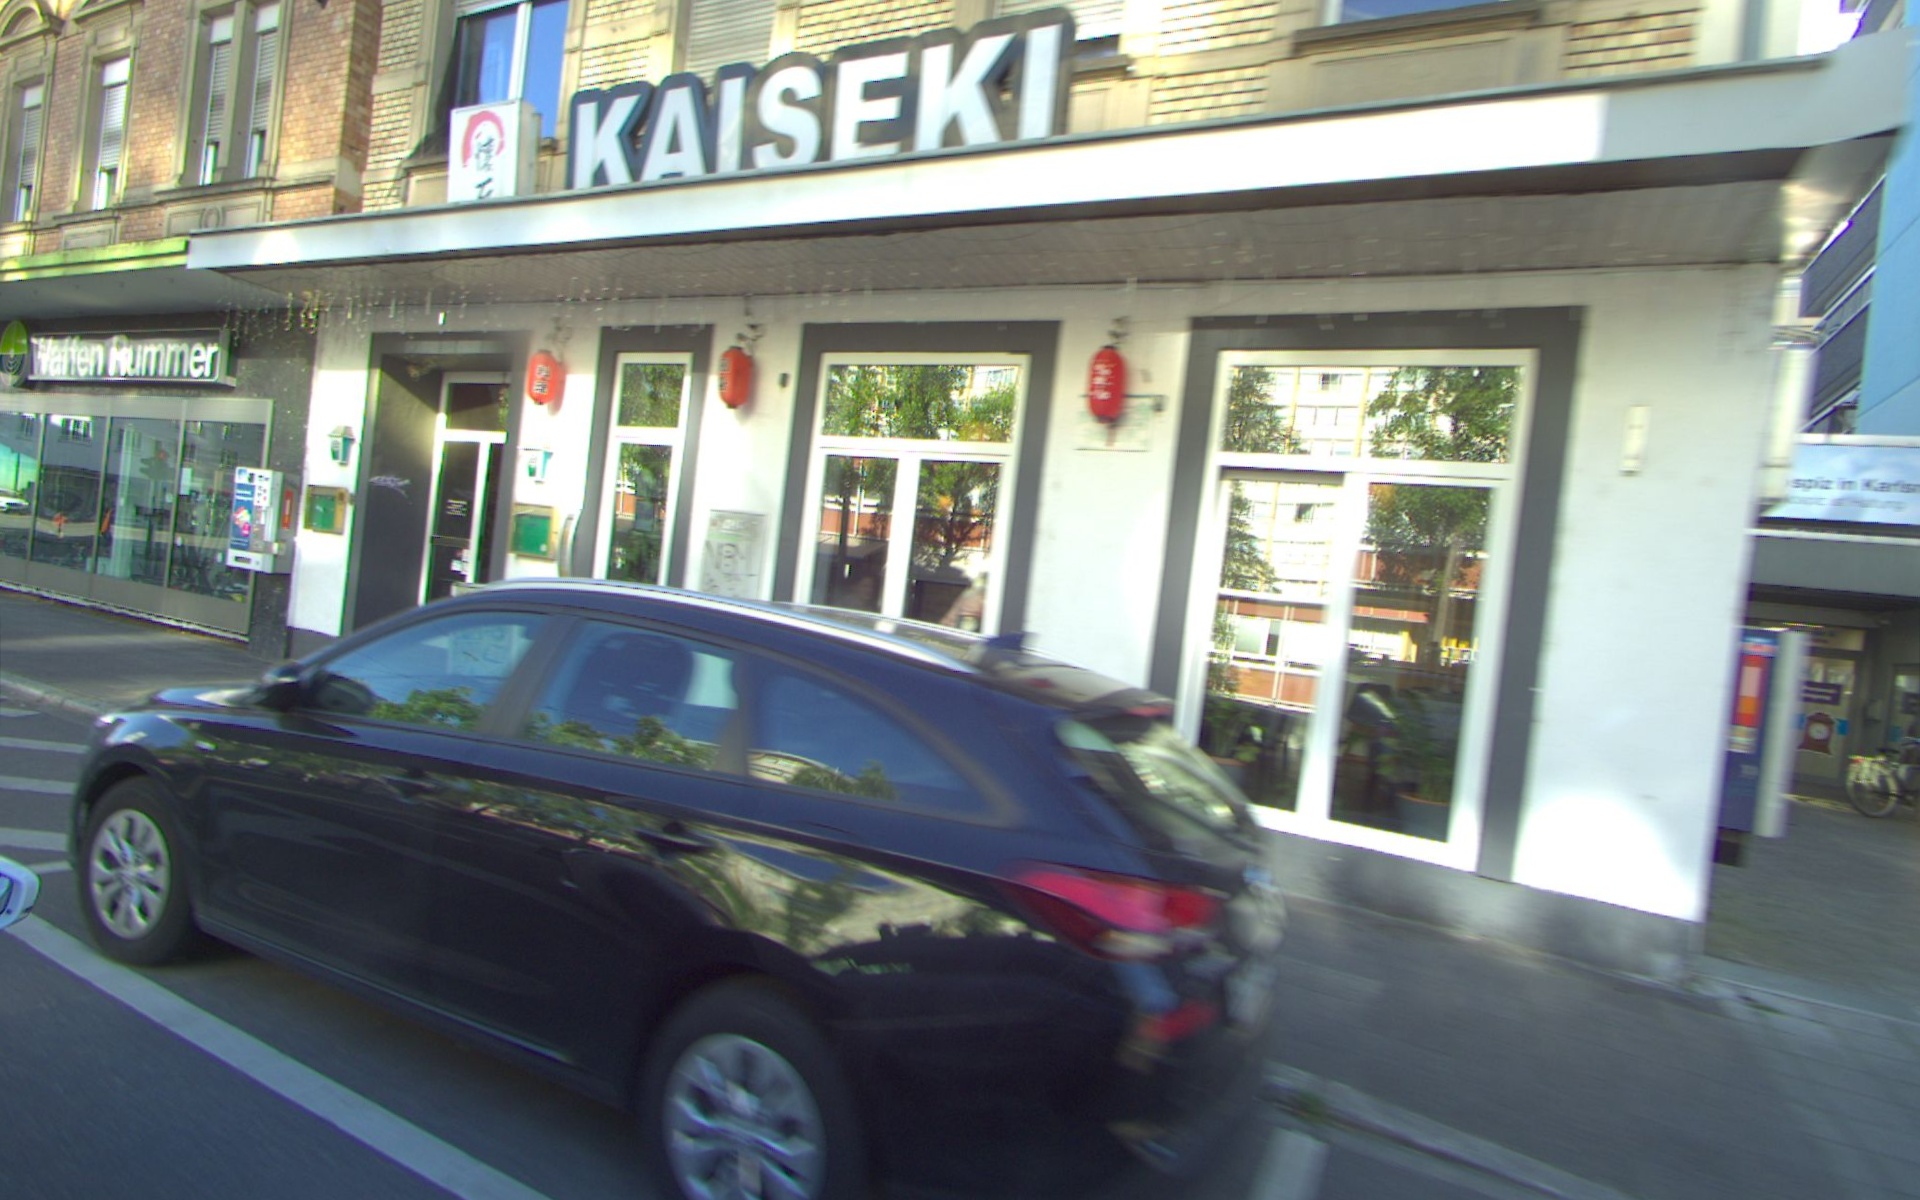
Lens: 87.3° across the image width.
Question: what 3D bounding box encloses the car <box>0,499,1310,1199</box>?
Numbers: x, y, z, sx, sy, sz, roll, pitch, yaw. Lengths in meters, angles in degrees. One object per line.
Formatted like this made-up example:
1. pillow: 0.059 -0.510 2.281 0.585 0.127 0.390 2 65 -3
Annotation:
1. car: -1.219 0.661 3.487 4.283 1.467 1.695 7 -2 27

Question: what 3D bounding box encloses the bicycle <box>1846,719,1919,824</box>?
1. bicycle: 12.347 2.266 13.223 1.187 1.260 0.357 7 -1 -14
